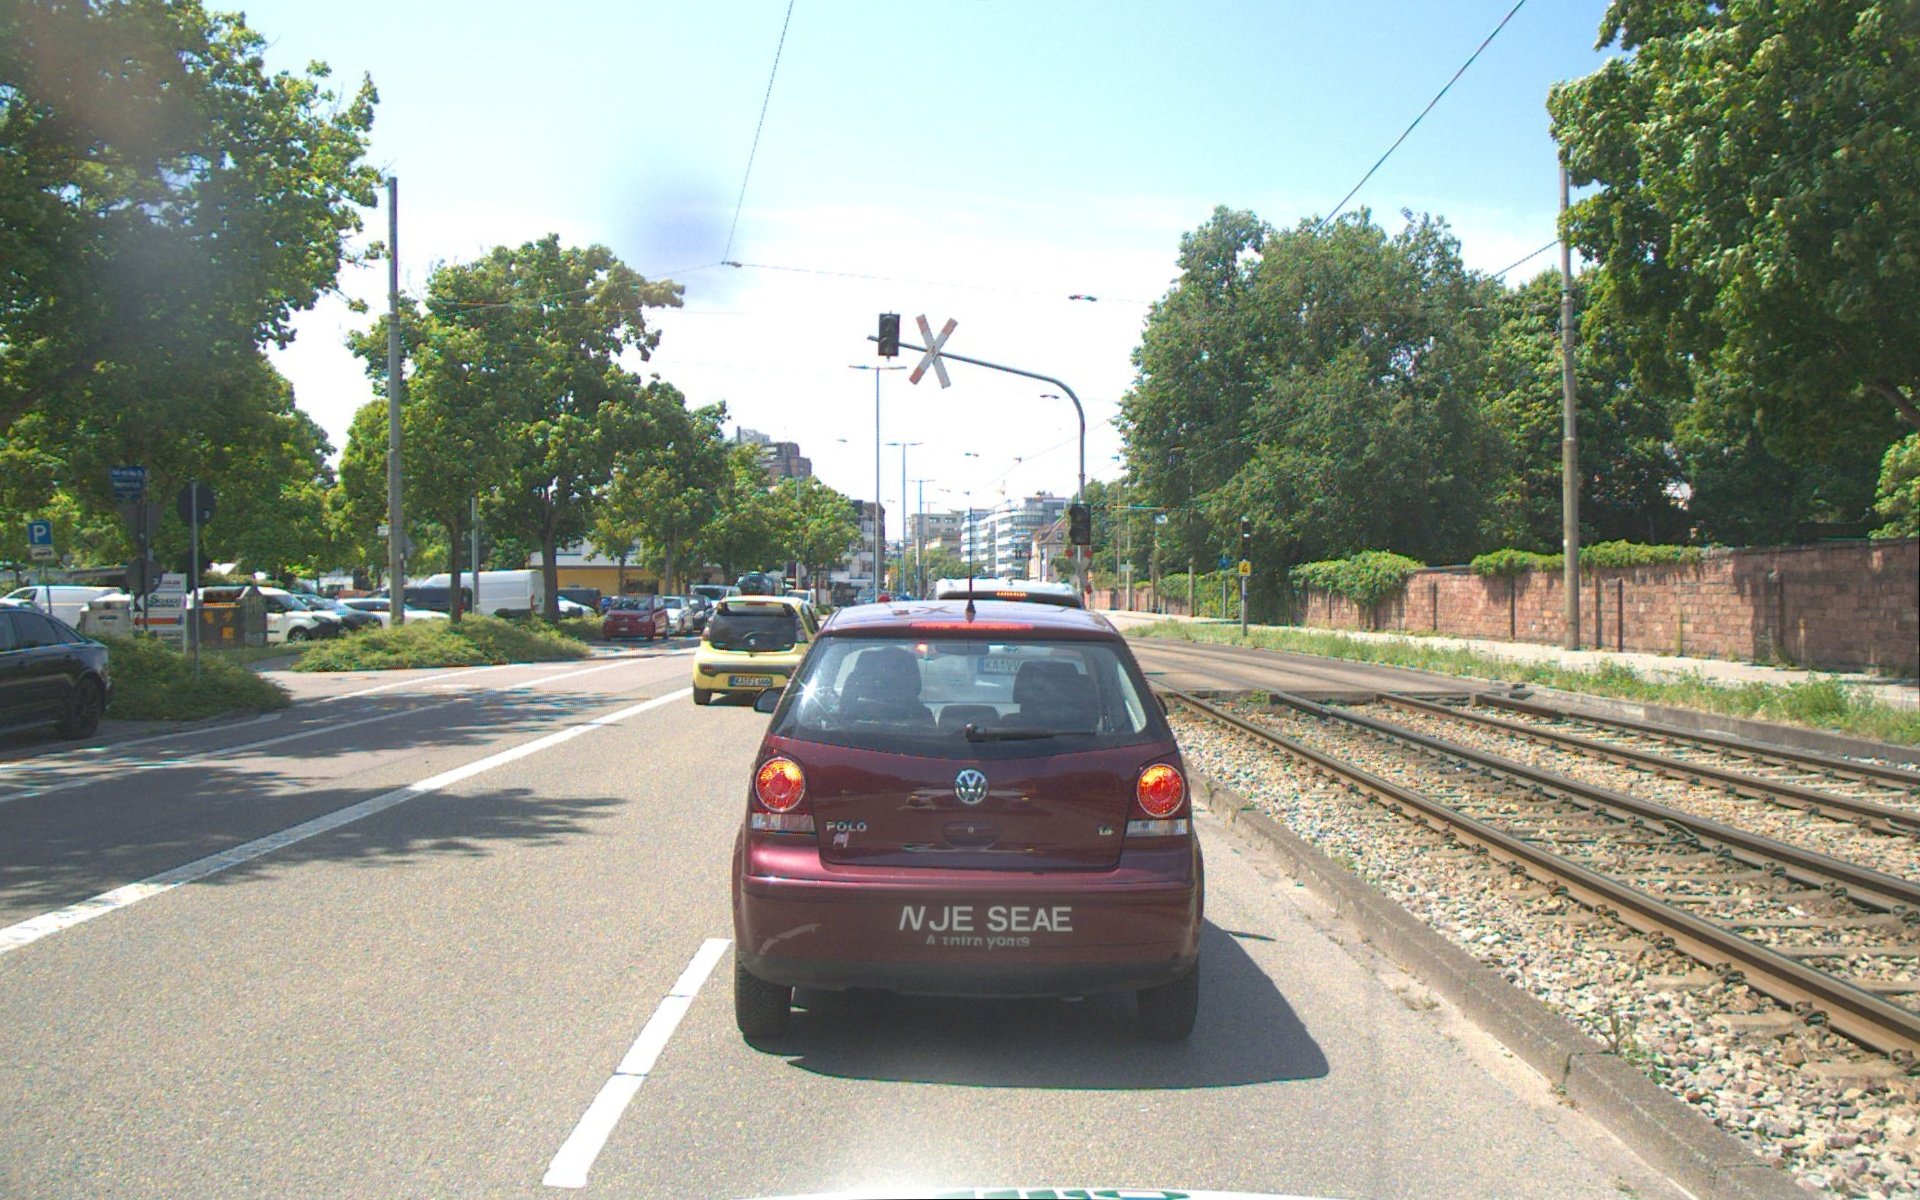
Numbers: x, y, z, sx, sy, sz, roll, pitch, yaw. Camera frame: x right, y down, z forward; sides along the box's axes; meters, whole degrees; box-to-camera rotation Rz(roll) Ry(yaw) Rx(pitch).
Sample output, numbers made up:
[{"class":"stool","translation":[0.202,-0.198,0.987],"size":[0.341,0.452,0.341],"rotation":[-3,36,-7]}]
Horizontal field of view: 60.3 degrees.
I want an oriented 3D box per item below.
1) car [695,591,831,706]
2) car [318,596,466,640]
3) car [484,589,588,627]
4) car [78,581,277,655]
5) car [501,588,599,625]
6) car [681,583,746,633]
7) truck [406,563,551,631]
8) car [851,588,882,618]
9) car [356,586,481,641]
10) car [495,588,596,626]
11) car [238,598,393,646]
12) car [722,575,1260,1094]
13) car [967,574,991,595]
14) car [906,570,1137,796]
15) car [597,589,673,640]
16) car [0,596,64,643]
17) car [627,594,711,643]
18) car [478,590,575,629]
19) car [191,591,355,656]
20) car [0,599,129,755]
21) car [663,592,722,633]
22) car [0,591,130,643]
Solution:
[{"class":"car","translation":[-2.686,0.624,23.174],"size":[1.520,1.473,3.411],"rotation":[1,0,-1]},{"class":"car","translation":[-20.630,0.639,60.212],"size":[4.665,1.514,2.057],"rotation":[-1,0,-2]},{"class":"car","translation":[-20.847,0.380,81.448],"size":[4.623,1.845,1.796],"rotation":[-1,0,-2]},{"class":"car","translation":[-20.953,0.458,44.455],"size":[4.361,1.889,2.059],"rotation":[-1,0,-6]},{"class":"car","translation":[-21.269,0.342,85.903],"size":[4.623,1.845,1.796],"rotation":[-1,0,-2]},{"class":"car","translation":[-10.556,0.321,71.062],"size":[1.824,1.971,4.806],"rotation":[3,0,2]},{"class":"truck","translation":[-20.554,-0.115,70.813],"size":[5.463,2.808,2.432],"rotation":[-1,0,0]},{"class":"car","translation":[-6.320,0.171,111.878],"size":[1.879,1.944,4.570],"rotation":[-1,0,-1]},{"class":"car","translation":[-20.521,0.499,62.825],"size":[4.125,2.030,1.856],"rotation":[-1,0,-2]},{"class":"car","translation":[-20.913,0.348,83.596],"size":[4.623,1.845,1.796],"rotation":[-1,0,-2]},{"class":"car","translation":[-20.319,0.685,52.262],"size":[4.113,1.428,2.079],"rotation":[-1,0,-5]},{"class":"car","translation":[0.066,0.690,6.920],"size":[1.577,1.524,3.999],"rotation":[1,0,-1]},{"class":"car","translation":[1.784,-1.502,160.217],"size":[1.881,1.944,4.566],"rotation":[-1,0,-5]},{"class":"car","translation":[0.446,0.626,14.738],"size":[1.759,1.712,3.999],"rotation":[1,0,-1]},{"class":"car","translation":[-10.579,0.471,54.049],"size":[1.637,1.573,3.727],"rotation":[1,0,2]},{"class":"car","translation":[-33.710,0.664,57.936],"size":[3.670,1.603,1.732],"rotation":[0,0,-1]},{"class":"car","translation":[-10.639,0.646,60.839],"size":[1.683,1.451,4.774],"rotation":[-7,1,6]},{"class":"car","translation":[-20.670,0.431,78.952],"size":[4.125,1.796,1.856],"rotation":[-1,0,-2]},{"class":"car","translation":[-20.401,0.681,49.215],"size":[4.178,1.867,1.673],"rotation":[-1,0,1]},{"class":"car","translation":[-10.335,0.756,16.482],"size":[1.856,1.482,4.807],"rotation":[1,0,-3]},{"class":"car","translation":[-10.613,0.470,65.846],"size":[1.581,1.510,3.785],"rotation":[3,0,2]},{"class":"car","translation":[-32.821,0.604,60.385],"size":[4.044,1.852,1.970],"rotation":[0,0,-1]}]
